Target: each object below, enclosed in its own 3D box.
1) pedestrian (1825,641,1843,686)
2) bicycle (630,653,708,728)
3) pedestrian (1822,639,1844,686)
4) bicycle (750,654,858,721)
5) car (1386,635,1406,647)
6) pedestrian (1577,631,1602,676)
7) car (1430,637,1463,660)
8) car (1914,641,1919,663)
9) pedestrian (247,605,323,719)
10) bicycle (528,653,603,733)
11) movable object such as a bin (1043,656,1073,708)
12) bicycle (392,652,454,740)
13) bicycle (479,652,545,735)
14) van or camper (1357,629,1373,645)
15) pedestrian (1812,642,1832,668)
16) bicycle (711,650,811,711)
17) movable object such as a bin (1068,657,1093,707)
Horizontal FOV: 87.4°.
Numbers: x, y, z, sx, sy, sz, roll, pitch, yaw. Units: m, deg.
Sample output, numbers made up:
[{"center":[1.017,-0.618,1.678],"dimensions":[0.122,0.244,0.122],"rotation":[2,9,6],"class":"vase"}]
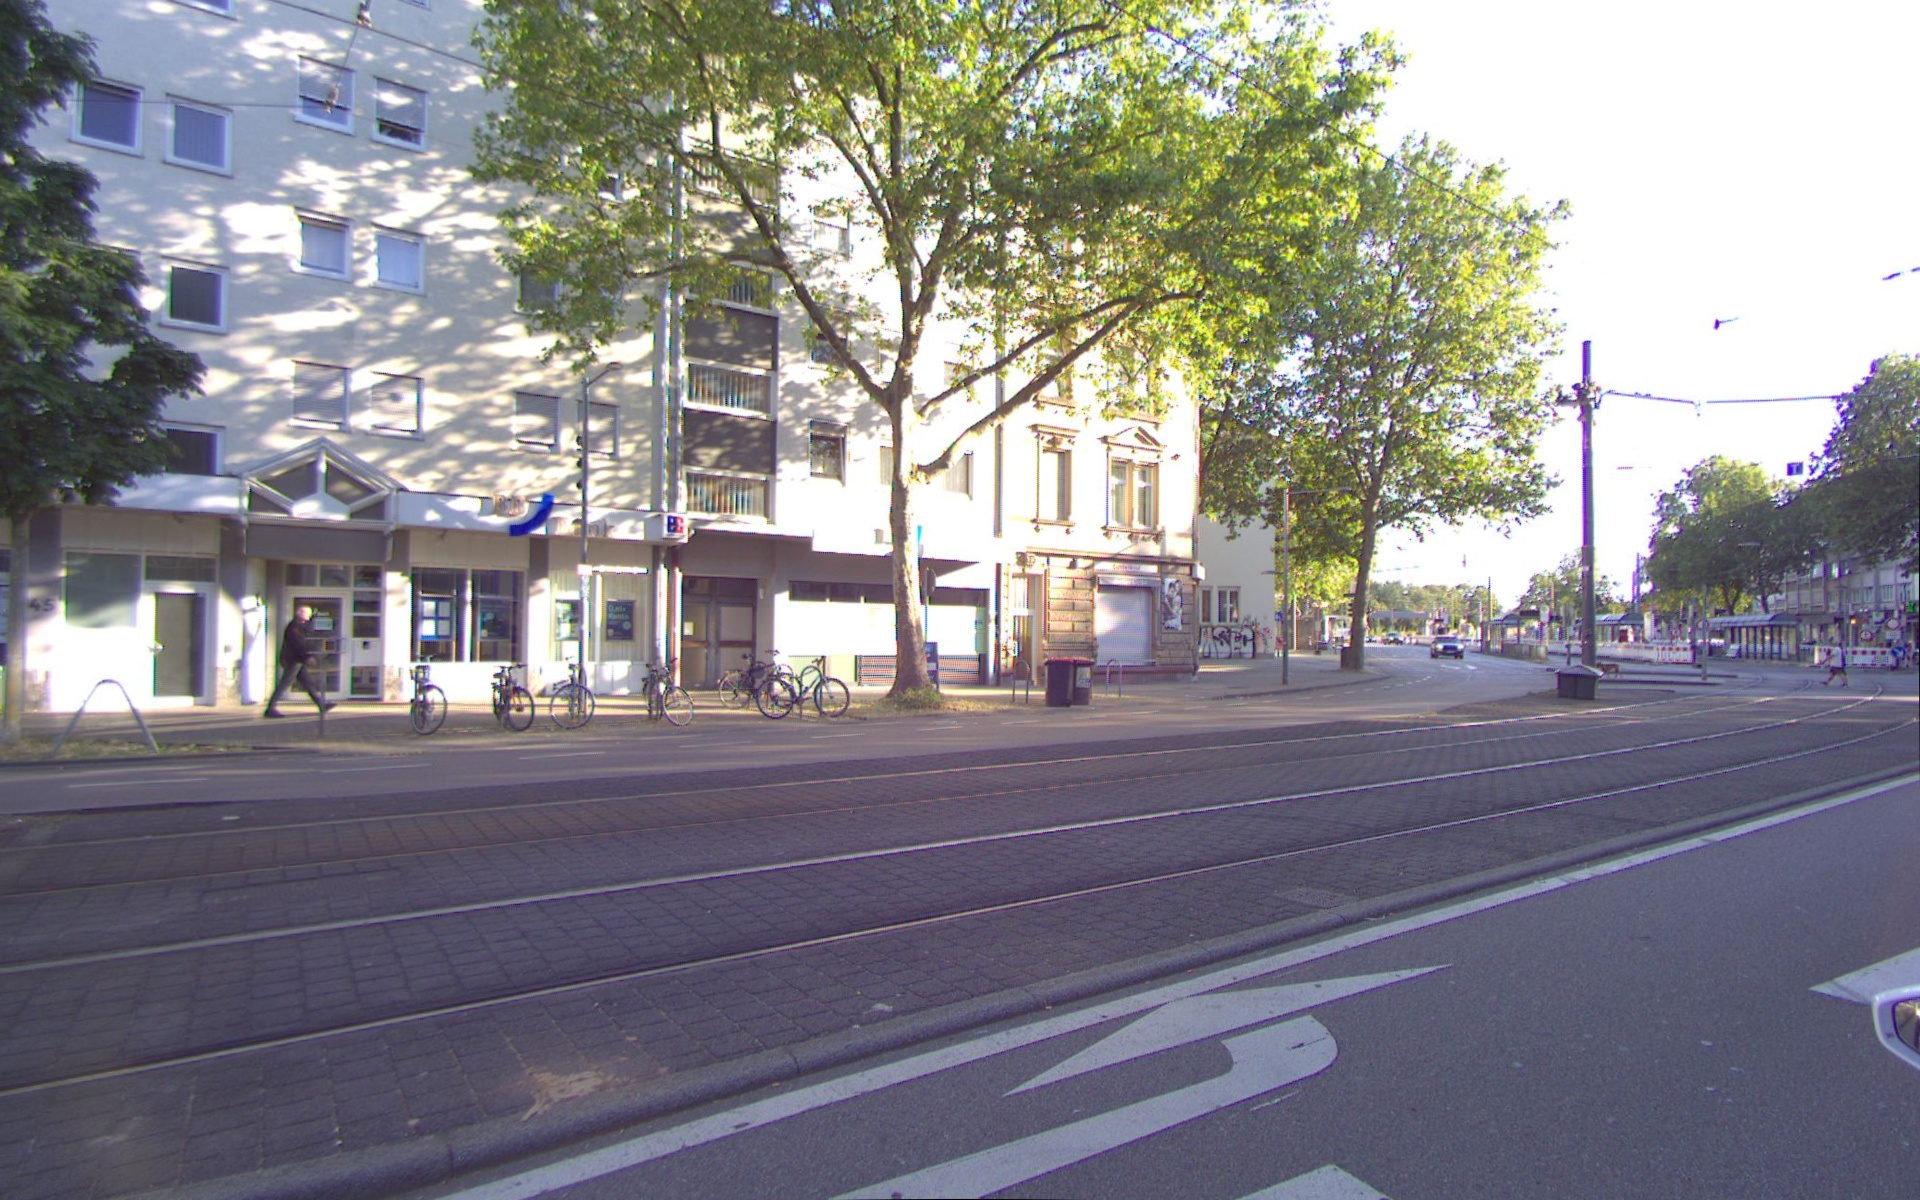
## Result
[{"center":[29.564,2.139,33.982],"dimensions":[0.403,1.524,0.515],"rotation":[0,-2,37],"class":"pedestrian"},{"center":[-4.986,1.505,17.115],"dimensions":[0.646,1.139,1.880],"rotation":[2,-1,-36],"class":"bicycle"},{"center":[29.147,2.071,33.538],"dimensions":[0.513,1.524,0.591],"rotation":[-1,-2,37],"class":"pedestrian"},{"center":[-2.815,1.571,18.236],"dimensions":[1.891,1.139,0.505],"rotation":[2,-1,-34],"class":"bicycle"},{"center":[59.347,5.612,136.809],"dimensions":[1.854,1.606,4.210],"rotation":[0,-2,14],"class":"car"},{"center":[24.691,2.083,39.410],"dimensions":[0.663,1.733,0.431],"rotation":[2,0,2],"class":"pedestrian"},{"center":[32.783,3.255,67.794],"dimensions":[1.856,1.492,4.205],"rotation":[0,-2,24],"class":"car"},{"center":[64.511,3.401,65.874],"dimensions":[1.635,1.488,3.412],"rotation":[-3,-3,22],"class":"car"},{"center":[-11.127,1.012,16.580],"dimensions":[0.959,1.811,0.615],"rotation":[2,0,-31],"class":"pedestrian"},{"center":[-6.344,1.453,16.095],"dimensions":[0.646,1.139,1.880],"rotation":[2,-1,-36],"class":"bicycle"},{"center":[2.163,1.811,22.237],"dimensions":[0.634,1.108,0.546],"rotation":[0,-2,5],"class":"movable object such as a bin"},{"center":[-7.975,1.382,14.873],"dimensions":[0.529,1.139,1.880],"rotation":[2,-1,-36],"class":"bicycle"},{"center":[-6.983,1.423,15.621],"dimensions":[0.529,1.139,1.880],"rotation":[2,-1,-36],"class":"bicycle"},{"center":[60.577,5.524,150.233],"dimensions":[2.132,2.349,5.103],"rotation":[0,-2,22],"class":"van or camper"},{"center":[44.724,2.873,52.133],"dimensions":[0.768,1.321,0.591],"rotation":[-1,-2,40],"class":"pedestrian"},{"center":[-3.955,1.581,20.020],"dimensions":[1.891,1.139,0.505],"rotation":[2,-1,-34],"class":"bicycle"},{"center":[2.737,1.851,22.855],"dimensions":[0.562,1.108,0.477],"rotation":[0,-2,5],"class":"movable object such as a bin"}]
